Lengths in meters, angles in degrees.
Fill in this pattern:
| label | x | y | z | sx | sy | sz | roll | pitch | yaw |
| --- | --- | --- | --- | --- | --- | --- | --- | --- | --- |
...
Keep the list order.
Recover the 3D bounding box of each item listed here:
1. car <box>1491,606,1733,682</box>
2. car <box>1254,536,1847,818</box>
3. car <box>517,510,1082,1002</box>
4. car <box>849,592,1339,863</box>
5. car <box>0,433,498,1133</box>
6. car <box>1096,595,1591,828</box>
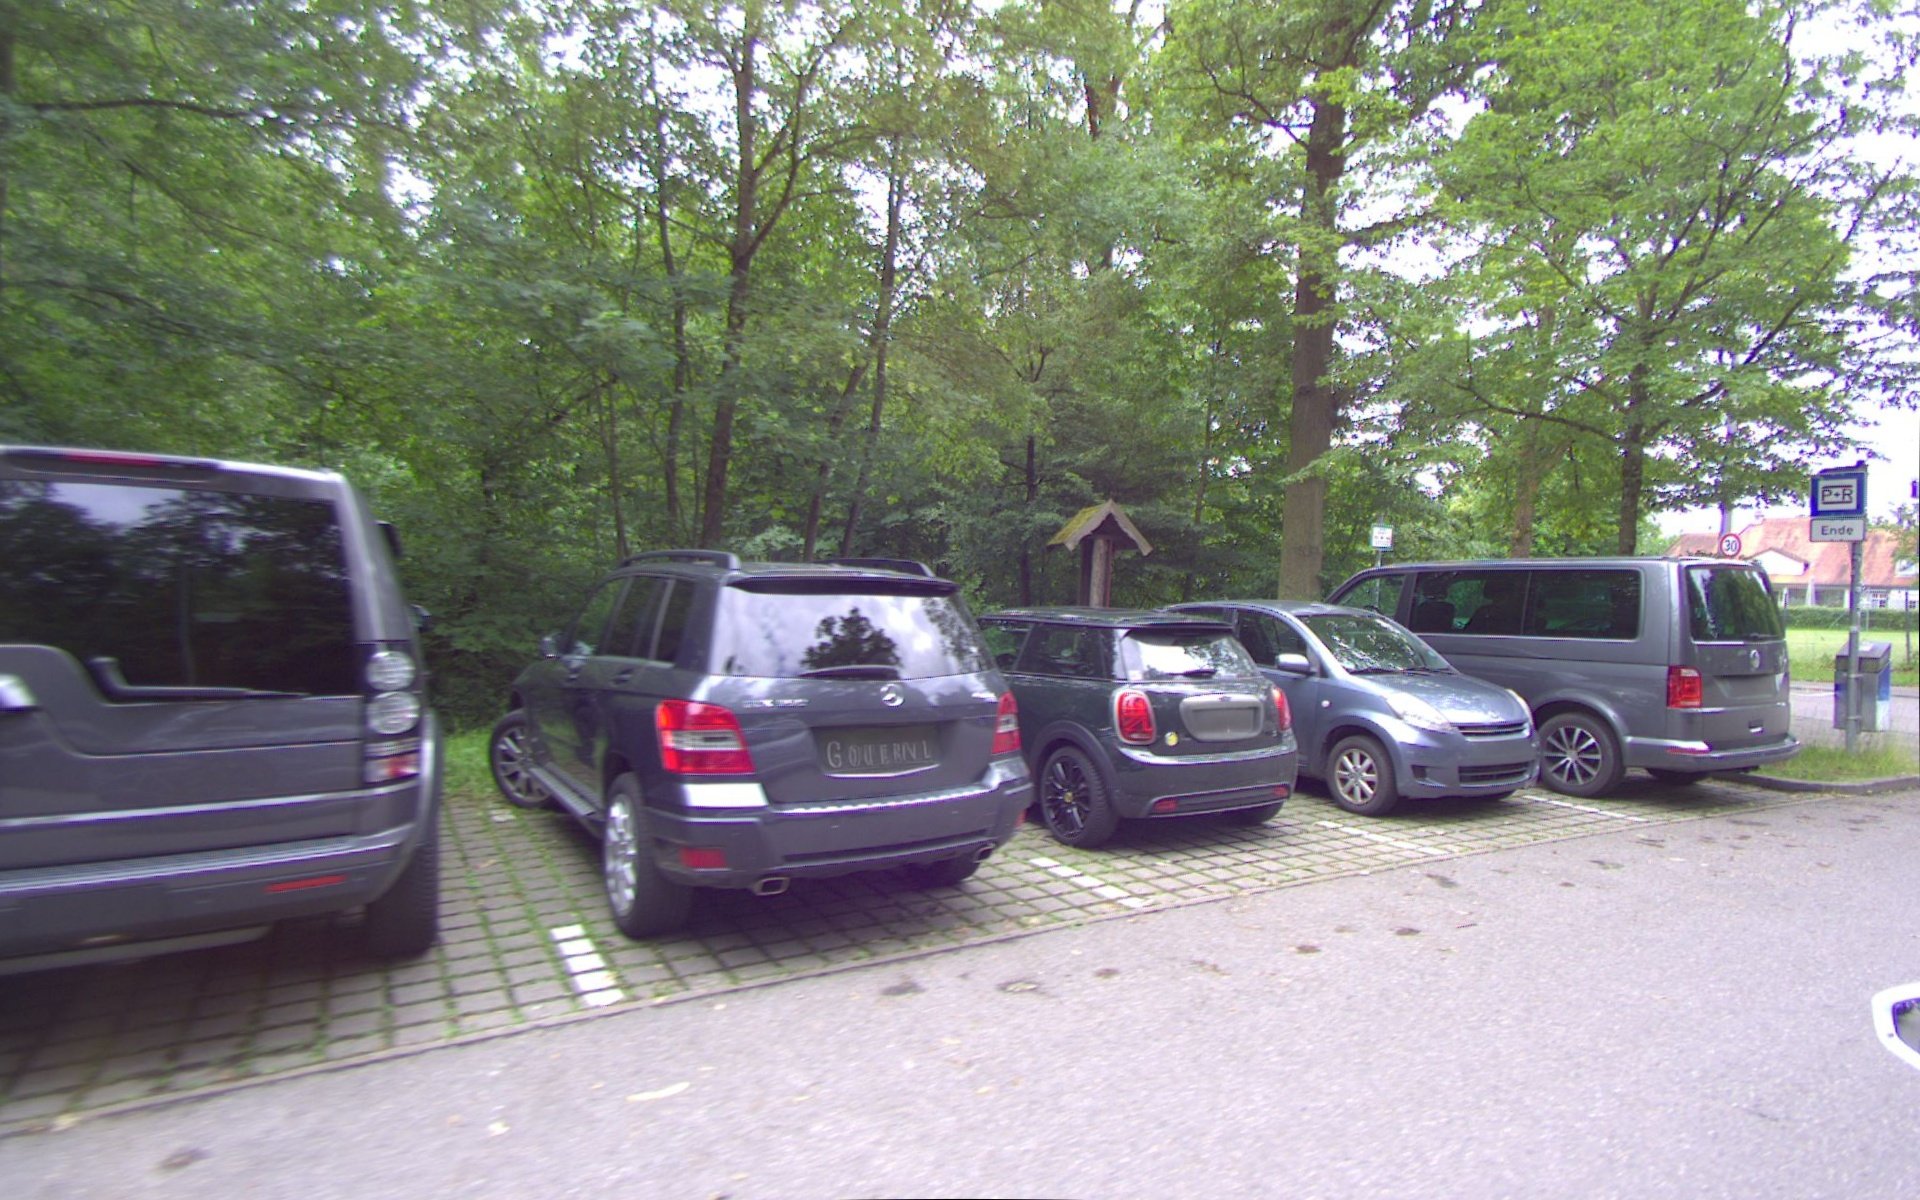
| label | x | y | z | sx | sy | sz | roll | pitch | yaw |
| --- | --- | --- | --- | --- | --- | --- | --- | --- | --- |
| car | 14.630 | 0.936 | 22.808 | 1.750 | 1.514 | 4.294 | -1 | 0 | -28 |
| car | 5.192 | 0.532 | 9.539 | 1.870 | 2.004 | 4.477 | 2 | 0 | -32 |
| car | -1.266 | 0.525 | 5.818 | 1.804 | 1.789 | 3.964 | 1 | 1 | -32 |
| car | 0.729 | 0.715 | 7.817 | 1.700 | 1.449 | 3.967 | 1 | 1 | -30 |
| car | -3.322 | 0.447 | 4.565 | 1.793 | 1.887 | 3.966 | 1 | 1 | -31 |
| car | 3.028 | 0.738 | 8.740 | 1.787 | 1.533 | 3.798 | 0 | 0 | -28 |
